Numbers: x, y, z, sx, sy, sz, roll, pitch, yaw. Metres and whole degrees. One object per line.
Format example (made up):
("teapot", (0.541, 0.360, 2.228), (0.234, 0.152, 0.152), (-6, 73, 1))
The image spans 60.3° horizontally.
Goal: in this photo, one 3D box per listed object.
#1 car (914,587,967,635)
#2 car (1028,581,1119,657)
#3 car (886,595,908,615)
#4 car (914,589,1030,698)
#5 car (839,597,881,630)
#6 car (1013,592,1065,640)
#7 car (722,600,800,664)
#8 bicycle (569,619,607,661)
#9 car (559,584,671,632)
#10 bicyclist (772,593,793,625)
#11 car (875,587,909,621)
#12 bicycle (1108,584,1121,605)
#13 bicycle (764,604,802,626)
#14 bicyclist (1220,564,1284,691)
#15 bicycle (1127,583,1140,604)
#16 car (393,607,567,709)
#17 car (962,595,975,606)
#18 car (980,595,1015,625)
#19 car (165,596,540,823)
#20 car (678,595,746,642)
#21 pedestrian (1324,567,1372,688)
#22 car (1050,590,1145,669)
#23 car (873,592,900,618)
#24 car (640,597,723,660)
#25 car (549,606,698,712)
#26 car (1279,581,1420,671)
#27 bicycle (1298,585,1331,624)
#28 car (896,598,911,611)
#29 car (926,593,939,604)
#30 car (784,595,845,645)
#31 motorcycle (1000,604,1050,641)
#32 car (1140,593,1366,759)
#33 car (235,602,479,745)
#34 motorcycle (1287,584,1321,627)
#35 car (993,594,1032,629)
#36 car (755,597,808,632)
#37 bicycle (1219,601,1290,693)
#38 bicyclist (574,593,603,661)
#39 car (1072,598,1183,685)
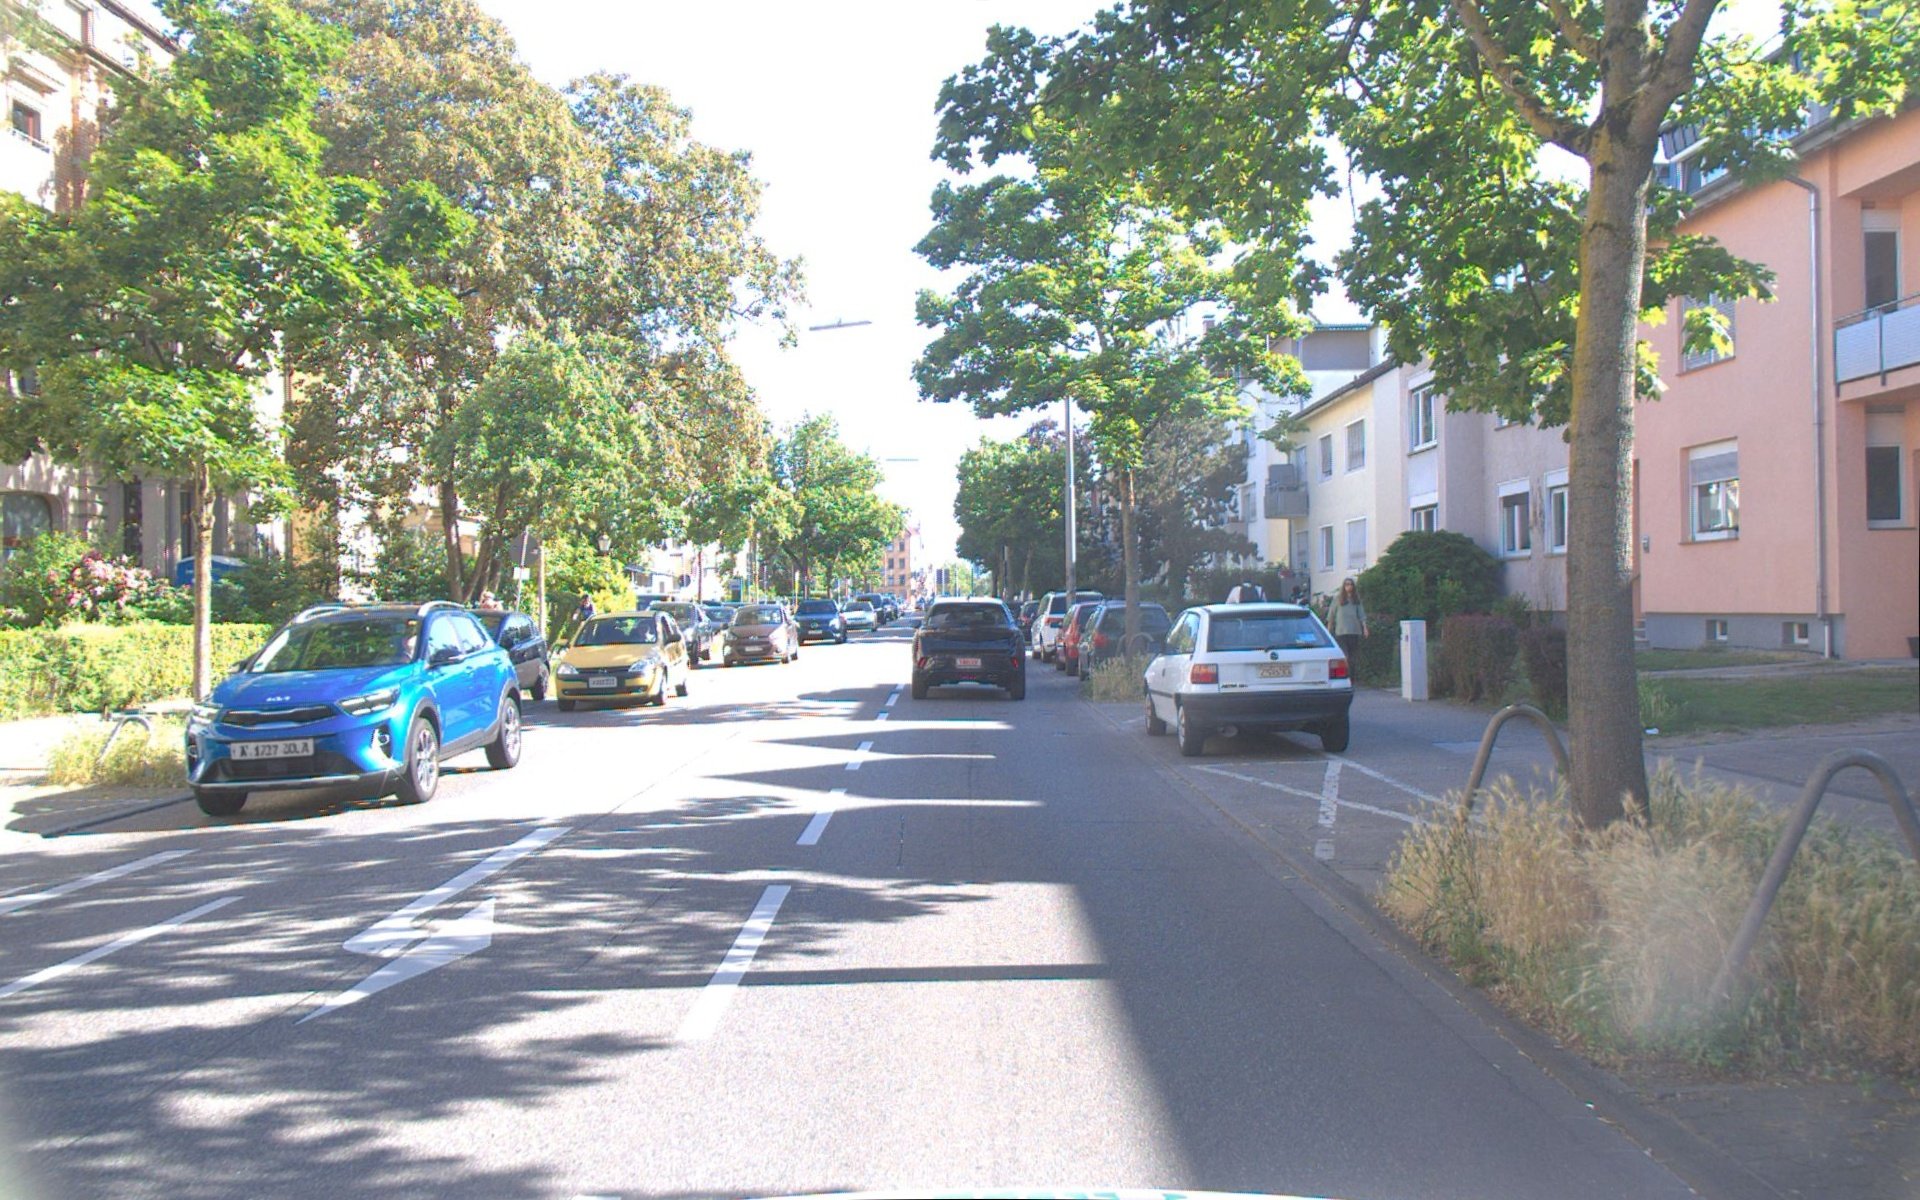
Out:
("car", (-0.664, 0.367, 58.406), (1.792, 1.606, 3.839), (-1, 0, 0))
("car", (2.721, 0.442, 40.556), (1.733, 1.688, 4.339), (-2, 0, -2))
("car", (-5.722, 0.440, 150.564), (1.770, 1.676, 4.672), (-3, 0, -1))
("car", (0.166, 0.644, 26.280), (1.710, 1.601, 3.557), (0, 0, -1))
("car", (-4.773, 0.630, 79.450), (1.698, 1.437, 4.191), (-3, 0, 0))
("car", (2.654, 0.506, 56.119), (1.586, 1.525, 3.649), (-2, 0, 1))
("car", (-5.022, 0.780, 42.043), (1.549, 1.477, 3.744), (-2, 0, -1))
("bicycle", (-10.015, 1.065, 44.574), (0.596, 1.091, 1.743), (-1, 0, 0))
("car", (-14.296, 0.320, 68.546), (4.261, 1.912, 1.864), (-1, 1, -26))
("bicyclist", (-10.574, 0.532, 98.571), (1.037, 1.856, 0.656), (-1, 0, -23))
("car", (-4.350, 0.250, 106.135), (1.975, 1.986, 5.177), (-3, 0, -1))
("bicycle", (10.126, -0.347, 108.242), (0.610, 1.309, 1.842), (-4, 0, 0))
("bicycle", (-10.537, 0.906, 98.554), (2.157, 1.213, 0.446), (-2, 0, -24))
("bicyclist", (4.336, 0.393, 24.627), (0.709, 1.824, 1.015), (-2, 0, 0))
("bicycle", (11.296, -0.404, 107.734), (0.579, 1.309, 1.689), (-4, 0, 0))
("car", (-7.629, 0.873, 26.643), (1.568, 1.503, 3.932), (0, 0, 1))
("car", (1.310, 0.088, 255.153), (1.952, 1.546, 4.000), (1, 0, 1))
("car", (1.941, 0.482, 84.170), (1.657, 1.453, 4.148), (-2, 0, 2))
("car", (-4.931, 0.790, 14.053), (1.622, 1.543, 4.076), (-4, 0, 0))
("car", (-8.045, 0.583, 54.006), (1.603, 1.441, 4.089), (1, 0, 0))
("pedestrian", (5.626, 0.394, 23.995), (0.527, 1.706, 0.493), (-2, 0, -1))
("car", (2.770, 0.568, 33.910), (1.501, 1.475, 3.716), (-2, 0, -2))
("car", (-5.439, 0.374, 123.286), (1.779, 1.773, 4.492), (-3, 0, -1))
("car", (-7.468, 0.730, 44.693), (1.591, 1.616, 4.347), (1, 0, -1))
("car", (-5.207, 0.869, 26.003), (1.602, 1.428, 3.735), (-3, 0, -2))
("car", (6.768, 0.428, 29.089), (1.501, 1.379, 3.717), (-4, 0, -1))
("bicycle", (12.549, 0.153, 58.589), (0.586, 1.326, 2.425), (-2, 0, 0))
("car", (-7.839, 0.634, 229.741), (1.754, 1.645, 4.000), (-1, 0, 0))
("car", (-3.780, -0.172, 226.781), (1.736, 1.478, 3.883), (-1, 0, -3))
("car", (-5.271, 0.705, 60.389), (1.799, 1.642, 4.400), (-3, 0, -1))
("motorcycle", (2.364, 0.839, 60.662), (0.689, 1.294, 2.410), (-3, 0, -27))
("car", (2.888, 0.681, 17.056), (1.615, 1.427, 3.970), (-3, 0, 1))
("car", (-7.655, 0.859, 21.433), (1.636, 1.633, 4.393), (0, 0, -1))
("motorcycle", (11.780, 0.176, 56.696), (0.623, 1.399, 2.425), (-2, 0, 0))
("car", (2.269, 0.487, 72.403), (1.554, 1.420, 4.454), (-3, 0, 0))
("car", (-7.569, 0.587, 70.375), (1.796, 1.413, 4.801), (0, 0, -1))
("bicycle", (4.350, 0.672, 24.545), (0.684, 1.268, 1.822), (-2, 0, 0))
("bicyclist", (-10.010, 0.722, 44.543), (0.596, 1.785, 0.691), (-1, 0, 0))
("car", (2.892, 0.685, 29.170), (1.500, 1.379, 3.717), (-2, 0, -1))
